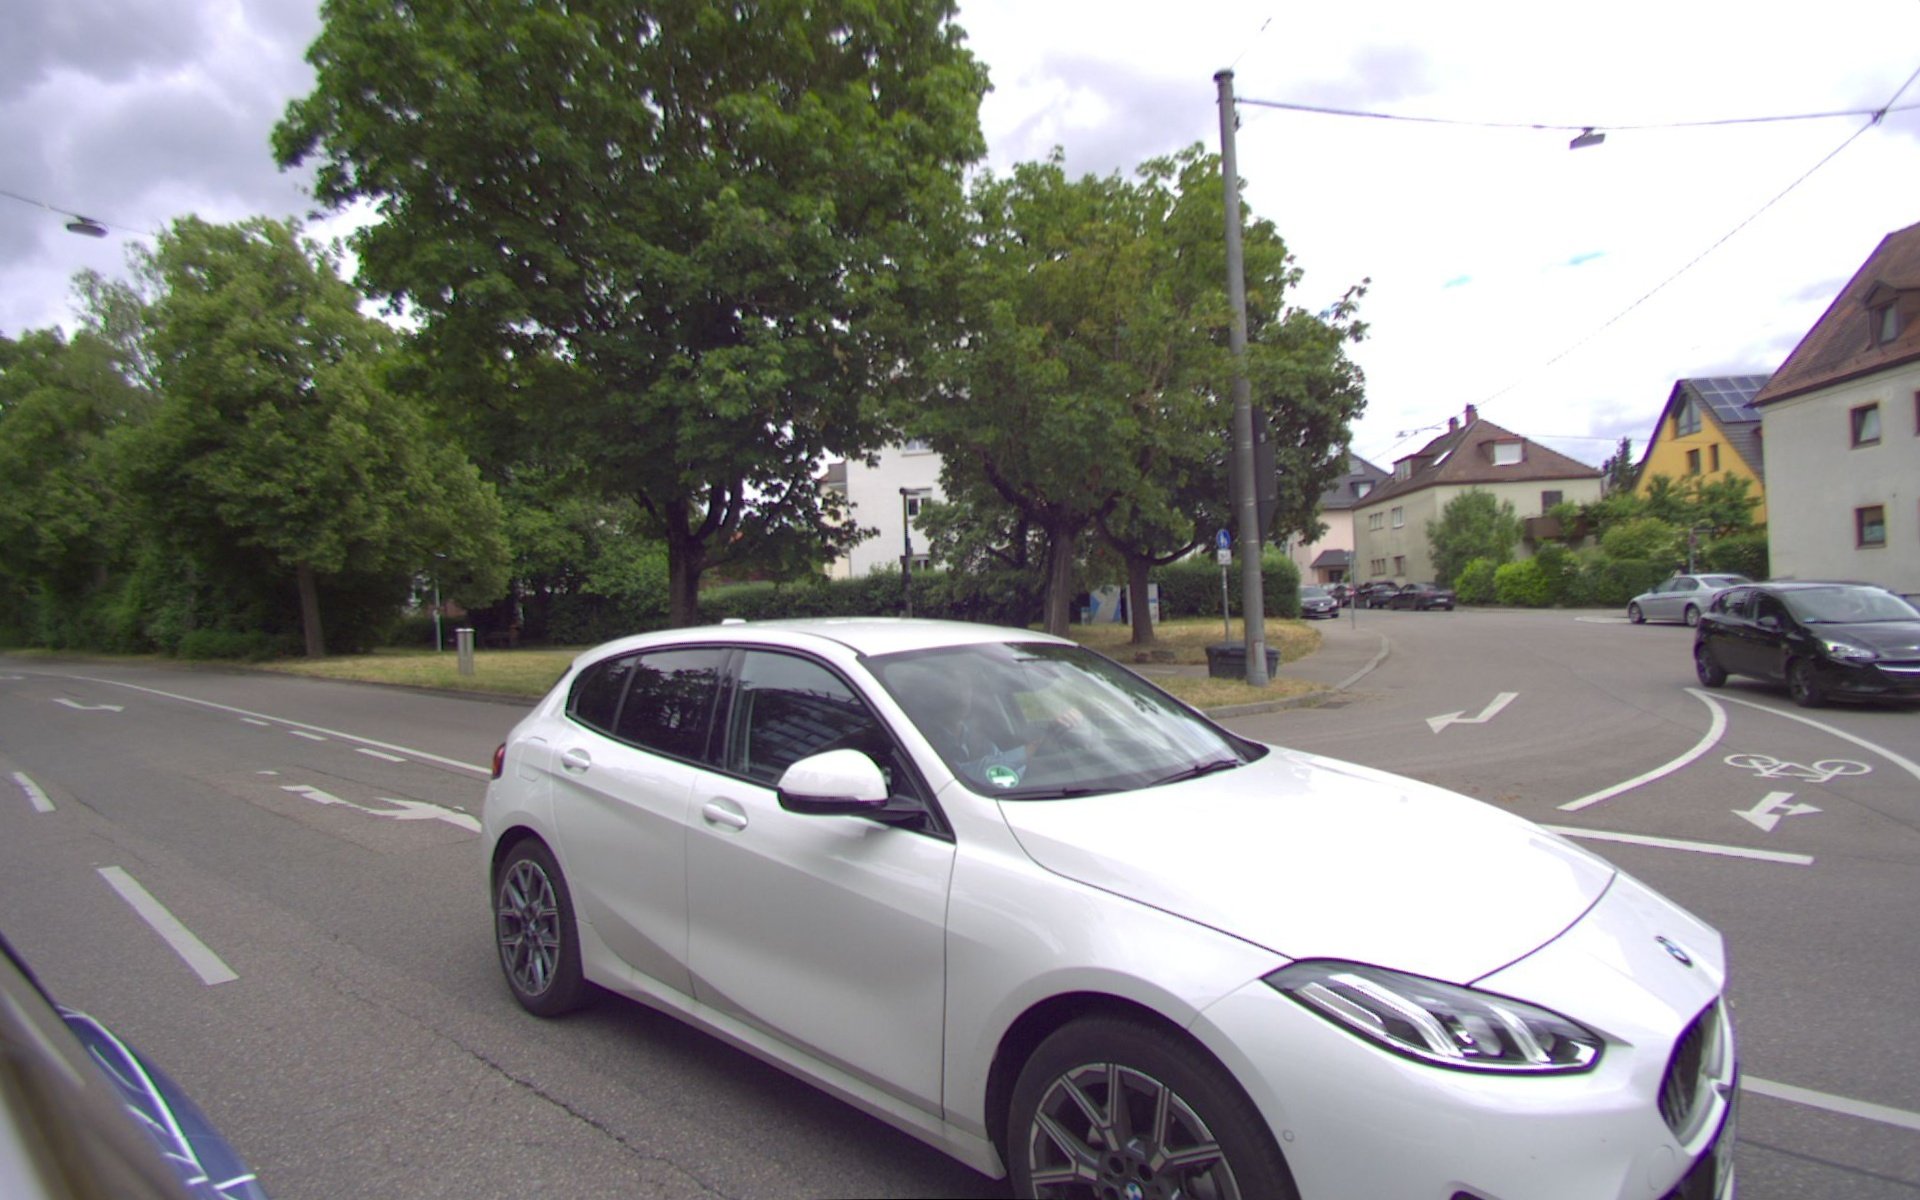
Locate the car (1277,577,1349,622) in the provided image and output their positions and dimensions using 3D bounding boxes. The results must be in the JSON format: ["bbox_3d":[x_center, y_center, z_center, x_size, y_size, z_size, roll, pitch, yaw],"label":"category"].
[{"bbox_3d":[15.361,-0.058,44.206,1.758,1.762,3.998,-4,1,2],"label":"car"}]

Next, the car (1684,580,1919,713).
[{"bbox_3d":[11.022,0.480,12.752,1.628,1.346,3.983,-4,0,13],"label":"car"}]

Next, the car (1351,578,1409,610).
[{"bbox_3d":[22.691,-0.347,54.834,1.781,1.546,3.884,-4,1,6],"label":"car"}]

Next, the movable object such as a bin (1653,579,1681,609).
[{"bbox_3d":[24.913,-0.217,35.676,0.399,1.004,0.877,-4,1,8],"label":"movable object such as a bin"}]

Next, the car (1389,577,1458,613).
[{"bbox_3d":[22.280,-0.280,48.829,1.781,1.546,3.884,-4,1,6],"label":"car"}]

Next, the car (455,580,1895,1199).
[{"bbox_3d":[0.140,0.773,3.265,4.207,1.529,1.776,-1,0,43],"label":"car"}]

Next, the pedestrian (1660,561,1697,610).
[{"bbox_3d":[24.764,-0.505,34.882,0.674,1.645,0.780,-4,1,8],"label":"pedestrian"}]

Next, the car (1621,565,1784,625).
[{"bbox_3d":[20.463,-0.157,28.131,1.662,1.545,4.228,-1,1,5],"label":"car"}]
